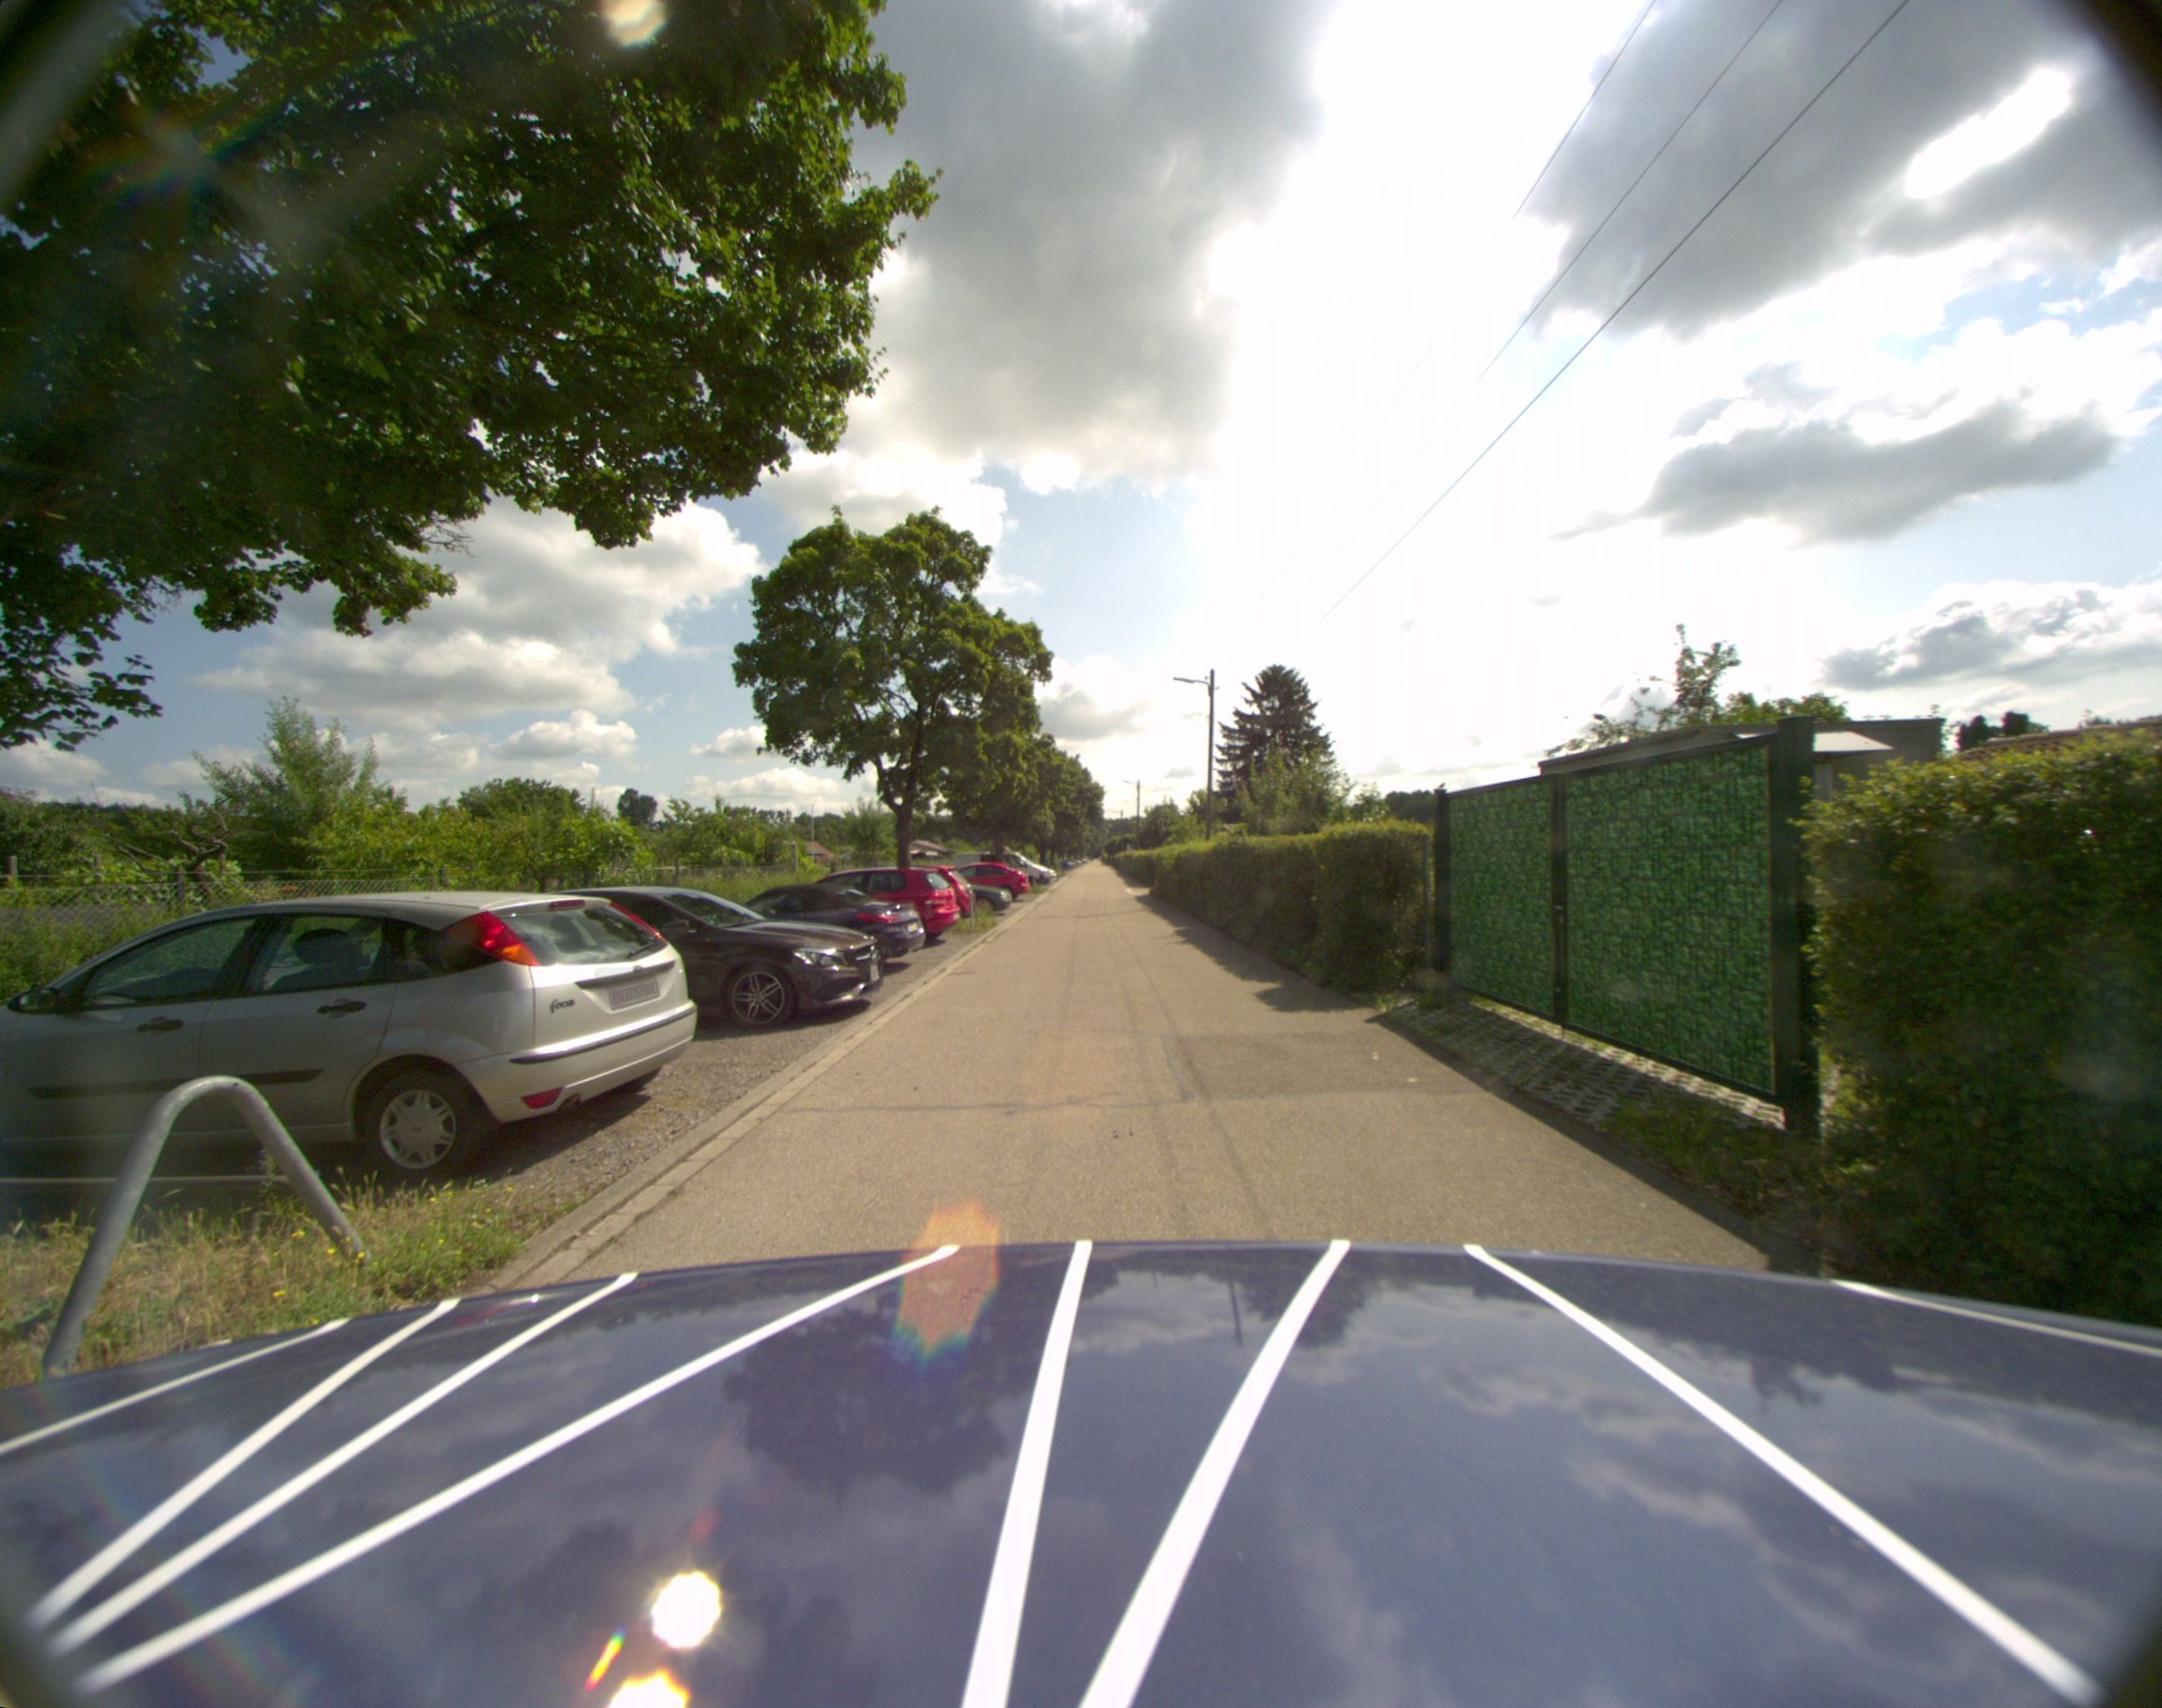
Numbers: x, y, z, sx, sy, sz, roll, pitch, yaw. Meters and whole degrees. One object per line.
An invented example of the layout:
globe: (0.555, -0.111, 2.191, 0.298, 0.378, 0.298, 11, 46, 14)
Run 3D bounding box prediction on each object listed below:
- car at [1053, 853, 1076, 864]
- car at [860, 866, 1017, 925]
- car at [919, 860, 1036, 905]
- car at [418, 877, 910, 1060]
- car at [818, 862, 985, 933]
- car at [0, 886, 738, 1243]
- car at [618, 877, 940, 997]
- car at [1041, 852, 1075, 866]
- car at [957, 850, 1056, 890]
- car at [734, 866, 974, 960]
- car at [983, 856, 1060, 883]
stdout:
car: (-2.873, 0.873, 135.688, 3.929, 1.740, 2.000, -3, 1, 1)
car: (-4.094, 1.180, 22.382, 4.250, 1.420, 1.908, -3, 1, -3)
car: (-3.961, 1.079, 29.602, 4.193, 1.495, 1.878, -3, 1, 2)
car: (-4.085, 1.096, 8.027, 4.076, 1.447, 1.869, -3, 1, -1)
car: (-4.544, 1.083, 19.665, 3.773, 1.564, 1.869, -3, 1, 1)
car: (-4.582, 1.081, 4.568, 4.073, 1.503, 1.958, -3, 1, 4)
car: (-4.311, 1.171, 11.305, 3.919, 1.415, 1.958, -3, 1, 4)
car: (-2.887, 0.641, 95.647, 4.116, 1.573, 1.781, -1, 0, 0)
car: (-3.587, 0.743, 37.241, 4.646, 1.875, 2.111, 0, 0, 0)
car: (-4.278, 1.099, 14.733, 3.995, 1.511, 1.855, -3, 1, 5)
car: (-3.626, 0.948, 46.949, 4.590, 1.457, 2.000, -2, 0, -2)
